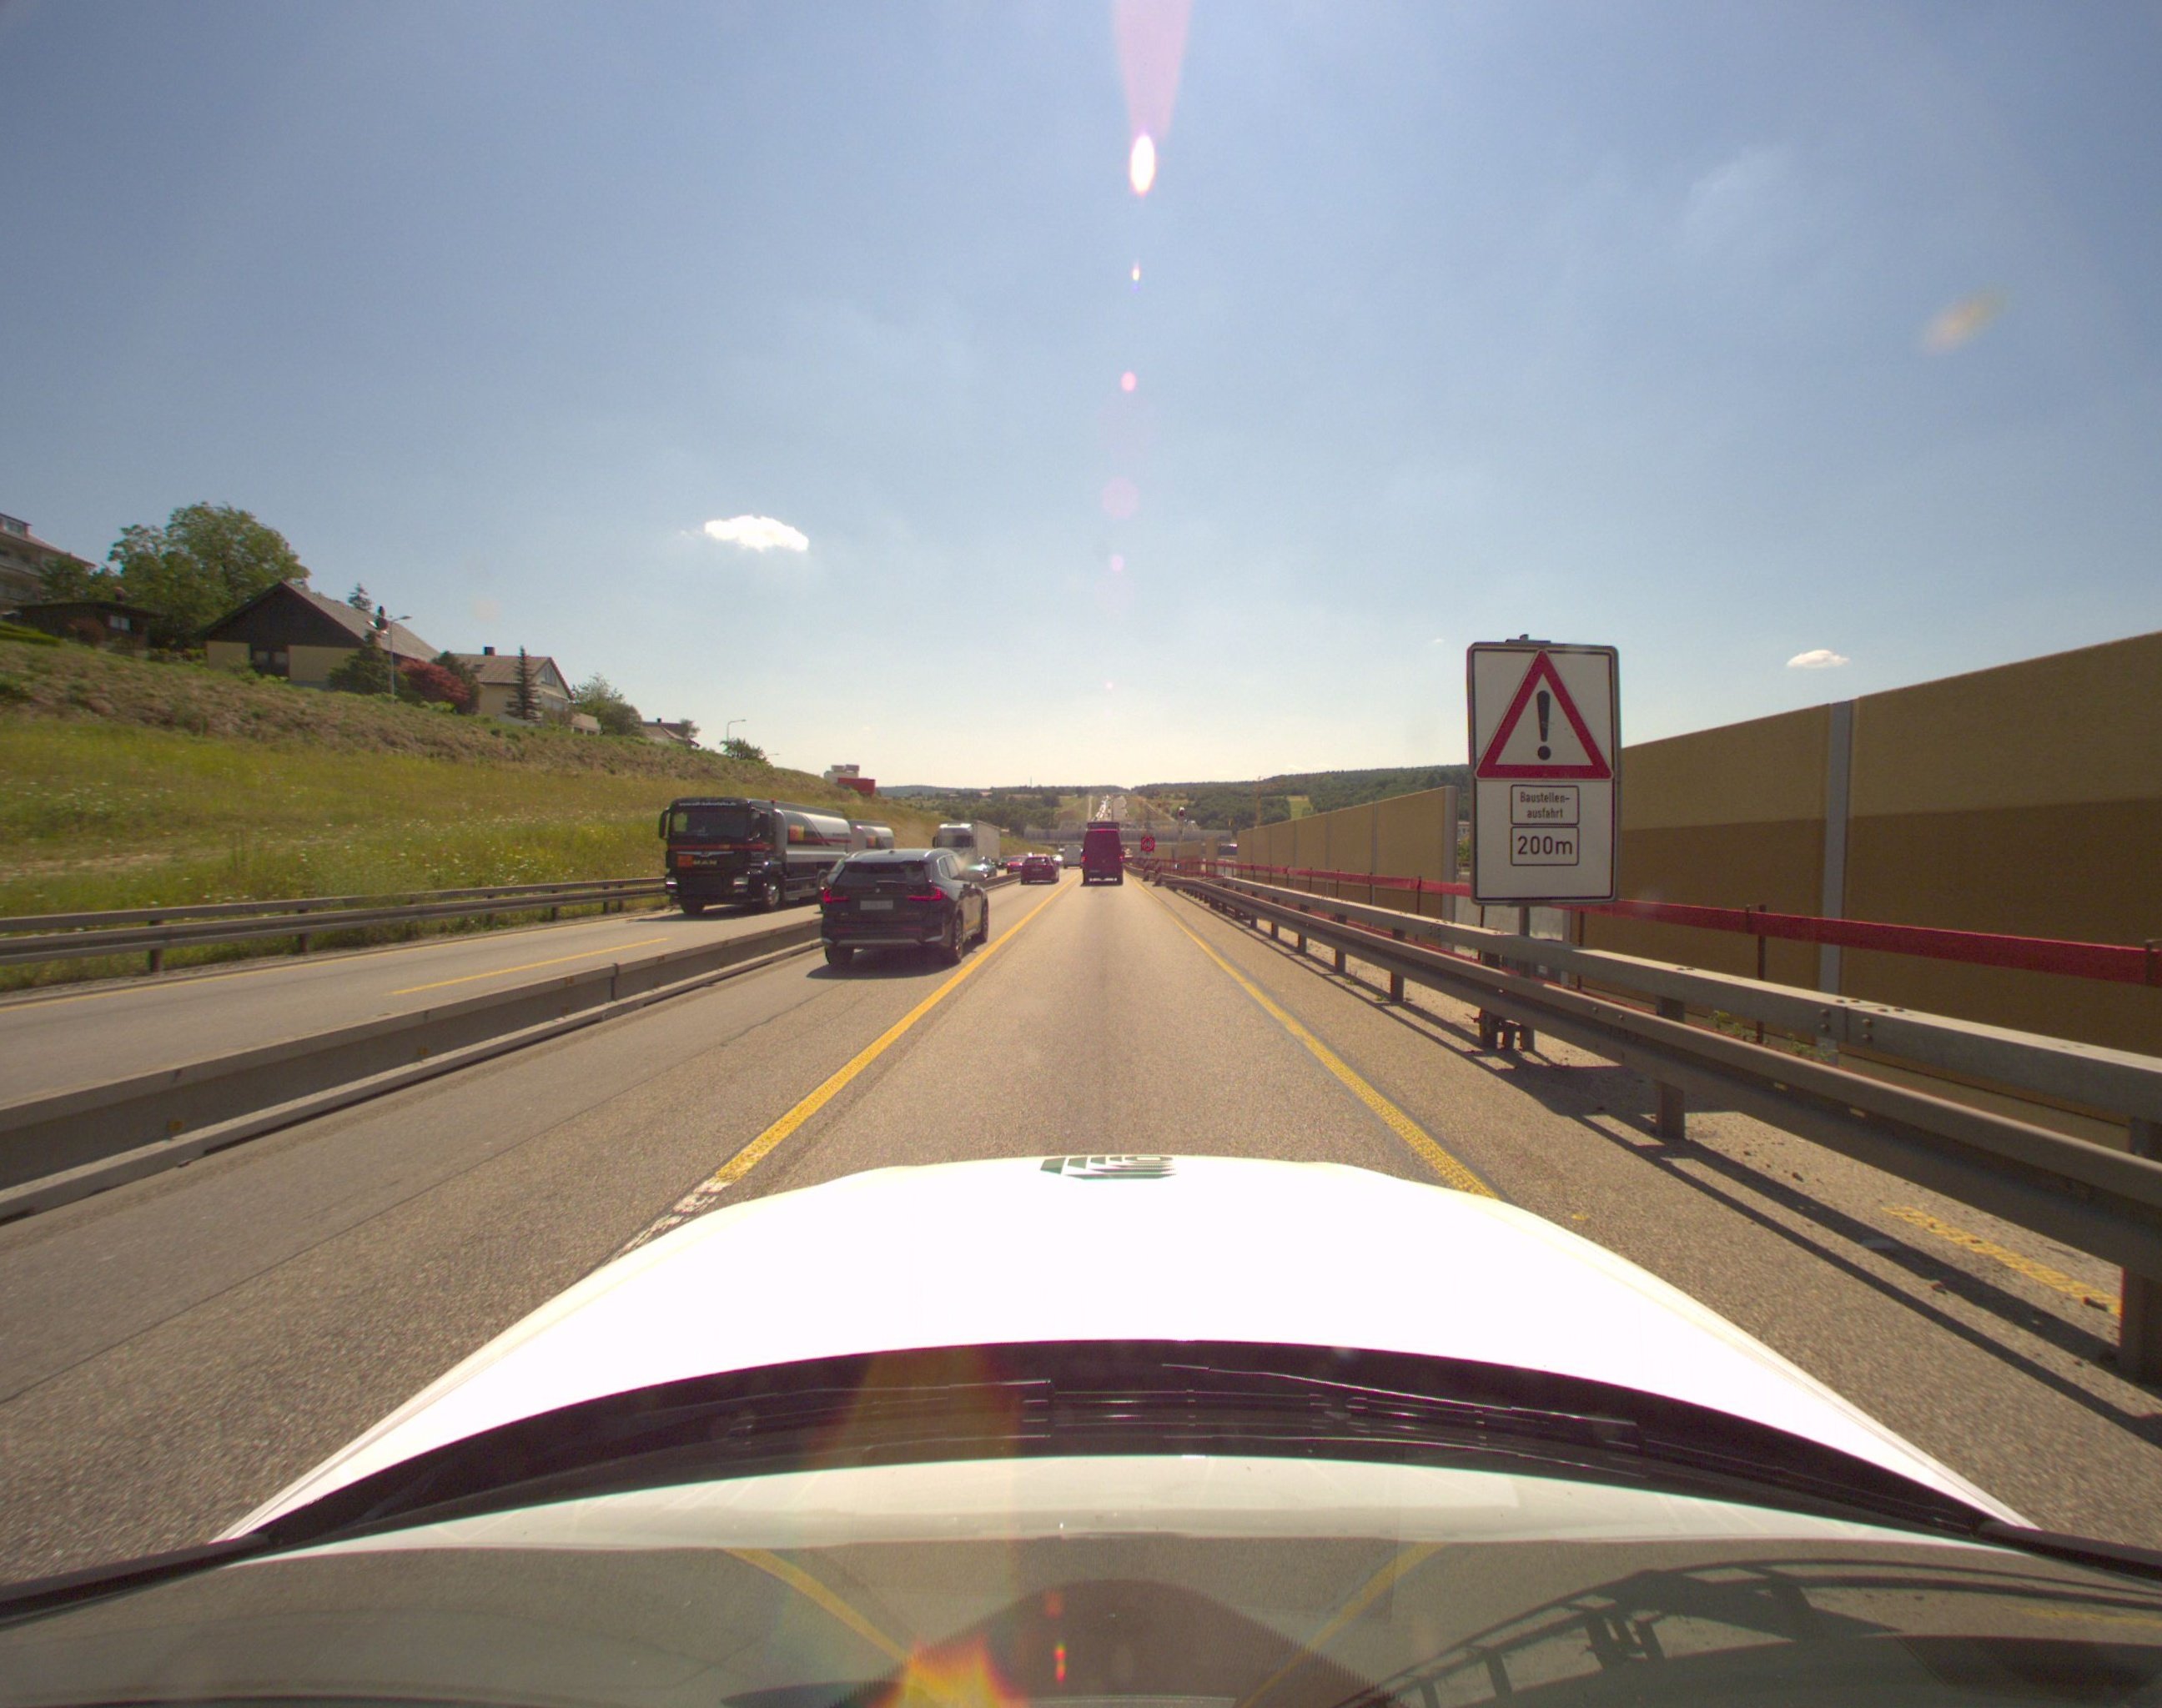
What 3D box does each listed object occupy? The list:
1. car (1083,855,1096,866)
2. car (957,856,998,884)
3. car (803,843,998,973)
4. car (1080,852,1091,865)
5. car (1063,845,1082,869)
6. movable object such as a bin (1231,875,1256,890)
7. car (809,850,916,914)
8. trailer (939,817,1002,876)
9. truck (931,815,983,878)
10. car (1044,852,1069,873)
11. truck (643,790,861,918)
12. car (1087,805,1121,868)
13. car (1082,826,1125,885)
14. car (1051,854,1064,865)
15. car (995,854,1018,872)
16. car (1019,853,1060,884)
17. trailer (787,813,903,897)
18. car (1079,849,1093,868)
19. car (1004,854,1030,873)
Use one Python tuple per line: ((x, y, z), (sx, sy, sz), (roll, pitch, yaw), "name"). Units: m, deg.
((1.268, 0.998, 122.281), (1.769, 1.670, 4.029), (-1, 0, 1), "car")
((-5.638, 0.838, 44.731), (1.659, 1.394, 3.906), (-1, 0, 1), "car")
((-2.528, 0.696, 12.617), (1.873, 1.618, 4.500), (-1, 0, 1), "car")
((0.777, 0.779, 142.325), (1.769, 2.330, 4.207), (-1, 0, 1), "car")
((-0.906, 0.338, 88.712), (1.769, 2.441, 4.207), (-1, 0, 1), "car")
((29.244, 5.195, 147.185), (3.151, 2.446, 7.898), (1, -1, 2), "movable object such as a bin")
((-6.125, 0.714, 23.353), (1.712, 1.635, 4.501), (0, 0, 1), "car")
((-8.567, -0.522, 65.298), (2.776, 4.182, 13.982), (-1, 0, 1), "trailer")
((-8.716, -0.516, 57.906), (2.736, 4.182, 5.289), (-1, 0, 1), "truck")
((-2.022, 0.678, 68.269), (1.833, 1.654, 4.165), (-1, 0, 1), "car")
((-9.379, -0.015, 24.670), (2.716, 3.142, 8.962), (0, 0, 2), "truck")
((1.977, -1.419, 70.869), (2.611, 5.032, 10.399), (-1, 0, 1), "car")
((1.108, 0.075, 40.512), (1.981, 2.690, 4.625), (-1, 0, 1), "car")
((-3.547, 0.798, 123.844), (1.833, 1.654, 5.372), (-1, 0, 1), "car")
((-8.285, 0.967, 90.916), (2.031, 1.926, 5.122), (-2, 0, 1), "car")
((-2.099, 0.713, 42.094), (1.769, 1.517, 4.207), (-1, 0, 1), "car")
((-9.189, 0.043, 32.470), (2.603, 3.001, 6.372), (0, 0, 1), "trailer")
((0.657, 0.546, 104.851), (1.769, 2.330, 4.207), (-1, 0, 1), "car")
((-5.138, 0.762, 65.480), (1.663, 1.466, 4.001), (-1, 0, 1), "car")
